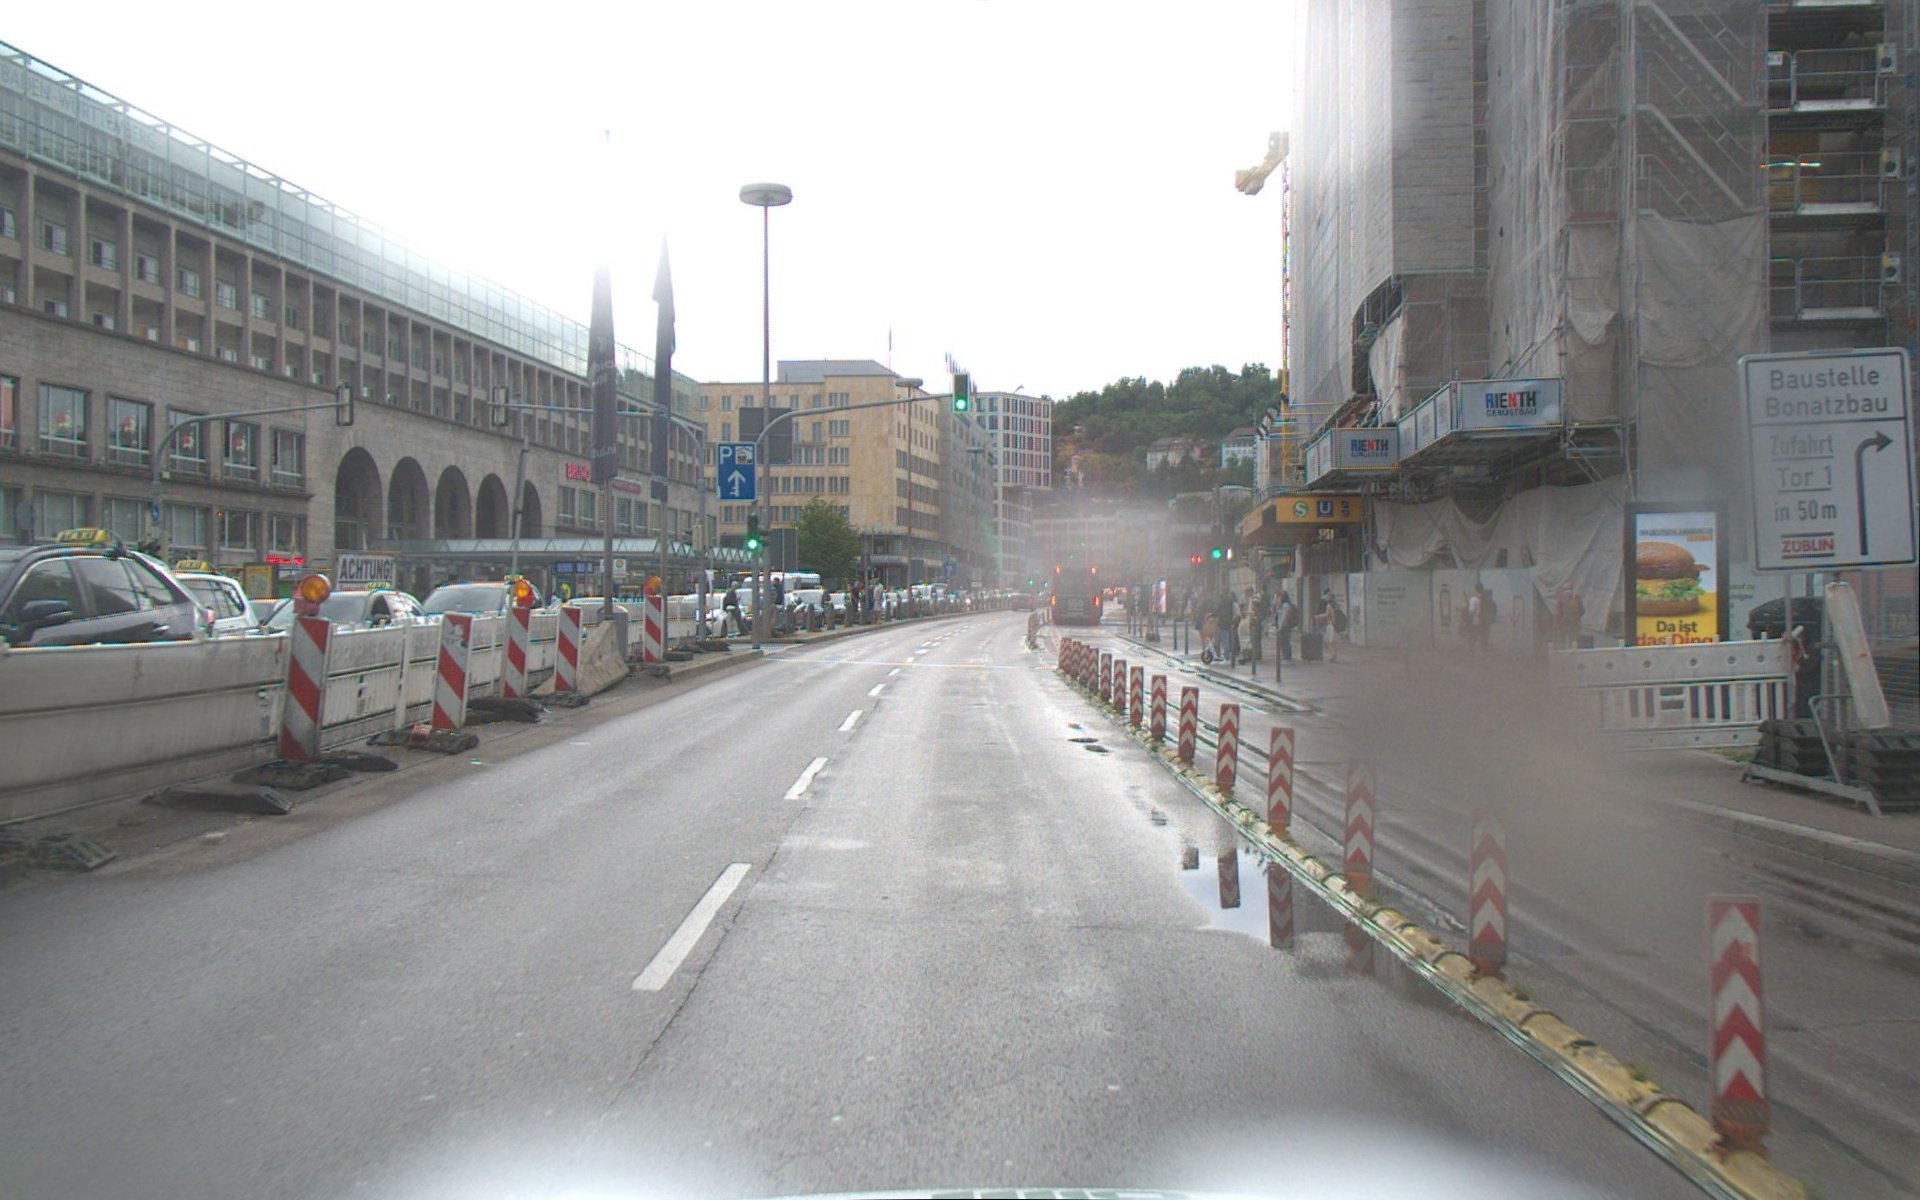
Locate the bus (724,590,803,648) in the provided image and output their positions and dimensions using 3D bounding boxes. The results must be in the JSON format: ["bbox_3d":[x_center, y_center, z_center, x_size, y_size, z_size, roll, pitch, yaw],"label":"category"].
[{"bbox_3d":[-12.357,1.117,104.940,2.816,3.435,10.581,0,0,5],"label":"bus"}]

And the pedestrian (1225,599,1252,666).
[{"bbox_3d":[7.117,0.828,42.299,0.546,1.669,0.752,-3,0,6],"label":"pedestrian"}]

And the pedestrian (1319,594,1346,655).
[{"bbox_3d":[10.476,0.685,46.511,0.538,1.660,0.996,-3,0,5],"label":"pedestrian"}]

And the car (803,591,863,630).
[{"bbox_3d":[-5.651,0.459,74.154,1.889,1.604,5.264,-2,0,4],"label":"car"}]

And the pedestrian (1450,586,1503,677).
[{"bbox_3d":[10.072,0.598,32.275,0.720,1.707,0.958,-3,0,4],"label":"pedestrian"}]

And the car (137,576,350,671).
[{"bbox_3d":[-12.186,0.366,28.430,1.953,1.467,3.999,1,0,-1],"label":"car"}]

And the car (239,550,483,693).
[{"bbox_3d":[-8.906,0.267,25.032,1.863,1.931,4.525,1,1,2],"label":"car"}]

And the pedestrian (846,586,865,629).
[{"bbox_3d":[-4.380,0.298,69.478,0.684,1.785,0.712,0,0,5],"label":"pedestrian"}]

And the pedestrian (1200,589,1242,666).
[{"bbox_3d":[6.063,0.621,38.446,0.575,1.771,0.811,0,0,-38],"label":"pedestrian"}]

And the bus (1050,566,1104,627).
[{"bbox_3d":[6.497,-0.162,90.774,2.697,3.122,9.086,1,0,5],"label":"bus"}]

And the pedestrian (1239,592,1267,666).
[{"bbox_3d":[7.215,0.699,40.698,0.546,1.782,0.712,-3,0,6],"label":"pedestrian"}]

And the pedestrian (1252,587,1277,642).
[{"bbox_3d":[10.684,0.517,58.124,0.707,1.880,0.811,-3,0,5],"label":"pedestrian"}]

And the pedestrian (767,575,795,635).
[{"bbox_3d":[-5.497,0.145,50.756,0.767,1.806,0.605,-3,0,-7],"label":"pedestrian"}]

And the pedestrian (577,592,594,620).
[{"bbox_3d":[-18.934,0.313,83.709,0.696,1.417,0.698,1,1,-25],"label":"pedestrian"}]

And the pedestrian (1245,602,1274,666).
[{"bbox_3d":[7.107,0.806,39.284,0.546,1.474,0.712,-3,0,6],"label":"pedestrian"}]

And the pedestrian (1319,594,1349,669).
[{"bbox_3d":[8.520,0.712,37.684,0.552,1.679,0.615,-3,0,9],"label":"pedestrian"}]

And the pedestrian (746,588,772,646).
[{"bbox_3d":[-6.056,0.513,49.908,0.637,1.741,0.593,1,1,3],"label":"pedestrian"}]

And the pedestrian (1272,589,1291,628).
[{"bbox_3d":[13.092,0.347,67.439,0.637,1.566,0.665,-3,0,6],"label":"pedestrian"}]

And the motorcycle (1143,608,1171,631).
[{"bbox_3d":[10.113,1.013,84.891,0.576,1.186,1.606,1,0,44],"label":"motorcycle"}]

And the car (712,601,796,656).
[{"bbox_3d":[-6.881,0.931,55.763,1.889,1.720,4.684,-2,0,4],"label":"car"}]

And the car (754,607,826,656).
[{"bbox_3d":[-6.387,1.174,62.717,1.889,1.720,4.684,-2,0,4],"label":"car"}]

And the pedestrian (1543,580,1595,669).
[{"bbox_3d":[11.951,0.474,32.490,0.717,1.711,1.110,0,0,7],"label":"pedestrian"}]

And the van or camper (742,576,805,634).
[{"bbox_3d":[-8.781,0.194,78.396,1.952,2.558,5.373,-3,0,3],"label":"van or camper"}]

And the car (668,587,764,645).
[{"bbox_3d":[-7.299,0.449,49.964,1.973,1.649,4.844,0,1,3],"label":"car"}]

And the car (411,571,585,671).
[{"bbox_3d":[-8.696,0.343,31.565,1.863,1.729,4.502,1,1,2],"label":"car"}]

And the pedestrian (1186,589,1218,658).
[{"bbox_3d":[6.439,0.623,44.035,0.548,1.789,0.750,-3,0,-8],"label":"pedestrian"}]

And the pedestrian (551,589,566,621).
[{"bbox_3d":[-19.605,0.226,80.833,0.576,1.533,0.621,1,1,-25],"label":"pedestrian"}]

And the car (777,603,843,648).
[{"bbox_3d":[-6.091,1.024,67.779,1.889,1.720,4.684,-2,0,4],"label":"car"}]

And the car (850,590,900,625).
[{"bbox_3d":[-4.415,0.394,86.774,1.935,1.688,5.195,-2,0,4],"label":"car"}]

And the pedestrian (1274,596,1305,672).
[{"bbox_3d":[7.449,0.765,37.413,0.546,1.679,0.615,-3,0,6],"label":"pedestrian"}]

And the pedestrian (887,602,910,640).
[{"bbox_3d":[-2.996,1.018,80.522,1.028,1.799,0.617,0,0,4],"label":"pedestrian"}]

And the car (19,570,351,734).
[{"bbox_3d":[-9.215,0.526,20.131,1.746,1.752,4.485,-1,1,2],"label":"car"}]

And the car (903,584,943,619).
[{"bbox_3d":[-2.417,0.095,109.476,1.951,2.217,5.548,-1,0,6],"label":"car"}]

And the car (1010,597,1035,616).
[{"bbox_3d":[5.237,0.546,139.569,1.953,1.579,4.000,-1,0,0],"label":"car"}]

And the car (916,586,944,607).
[{"bbox_3d":[-2.300,-0.276,127.763,1.952,1.579,4.001,-1,0,3],"label":"car"}]

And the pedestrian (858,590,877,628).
[{"bbox_3d":[-4.090,0.392,73.212,0.707,1.634,0.996,1,1,5],"label":"pedestrian"}]

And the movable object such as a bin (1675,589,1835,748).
[{"bbox_3d":[8.134,0.662,16.889,1.276,1.518,1.529,-1,0,33],"label":"movable object such as a bin"}]

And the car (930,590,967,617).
[{"bbox_3d":[-0.781,0.226,114.699,1.951,1.752,4.785,-1,0,7],"label":"car"}]

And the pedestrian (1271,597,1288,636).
[{"bbox_3d":[15.666,0.808,81.074,0.631,1.880,0.659,-3,0,5],"label":"pedestrian"}]

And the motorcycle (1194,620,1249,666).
[{"bbox_3d":[6.073,0.984,38.435,0.580,1.039,1.223,0,0,-38],"label":"motorcycle"}]

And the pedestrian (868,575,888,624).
[{"bbox_3d":[-3.417,-0.019,69.271,0.707,2.043,0.773,1,0,5],"label":"pedestrian"}]

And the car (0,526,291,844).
[{"bbox_3d":[-6.505,0.480,11.004,1.952,1.849,4.813,-1,1,2],"label":"car"}]
